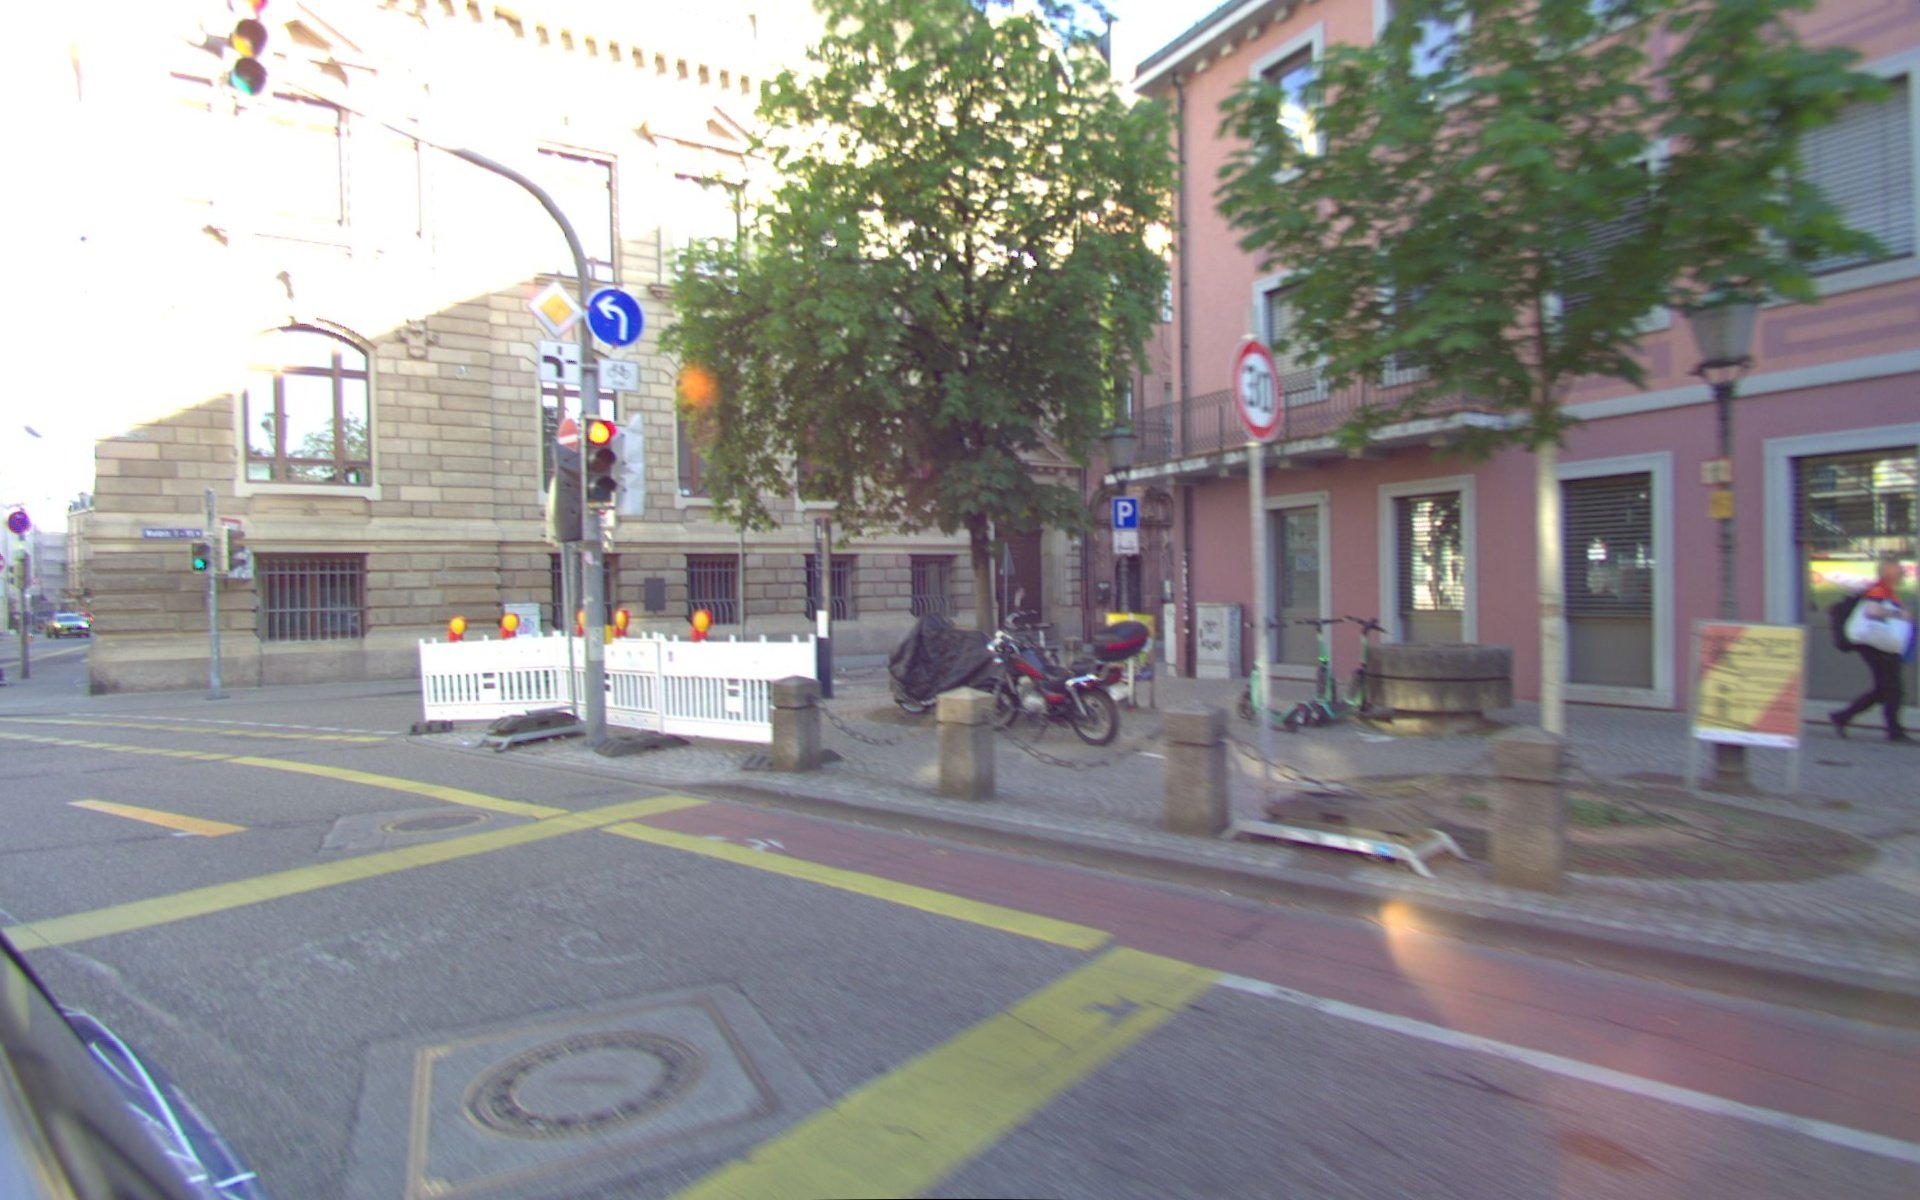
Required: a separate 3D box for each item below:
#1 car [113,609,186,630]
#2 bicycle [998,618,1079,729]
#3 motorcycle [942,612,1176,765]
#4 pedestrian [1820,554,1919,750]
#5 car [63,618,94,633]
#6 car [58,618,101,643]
[{"bbox_3d":[-63.783,1.508,79.683,1.632,1.482,4.213,-1,0,41],"label":"car"},{"bbox_3d":[0.983,0.833,12.281,0.677,1.215,1.997,1,-1,13],"label":"bicycle"},{"bbox_3d":[0.912,0.803,9.997,0.802,1.327,2.339,0,-1,-43],"label":"motorcycle"},{"bbox_3d":[8.531,0.442,9.196,0.780,1.701,0.871,-2,1,-33],"label":"pedestrian"},{"bbox_3d":[-96.549,2.797,110.821,4.271,1.502,2.027,-1,0,43],"label":"car"},{"bbox_3d":[-58.608,2.027,67.391,1.825,1.503,4.264,-2,1,-37],"label":"car"}]
